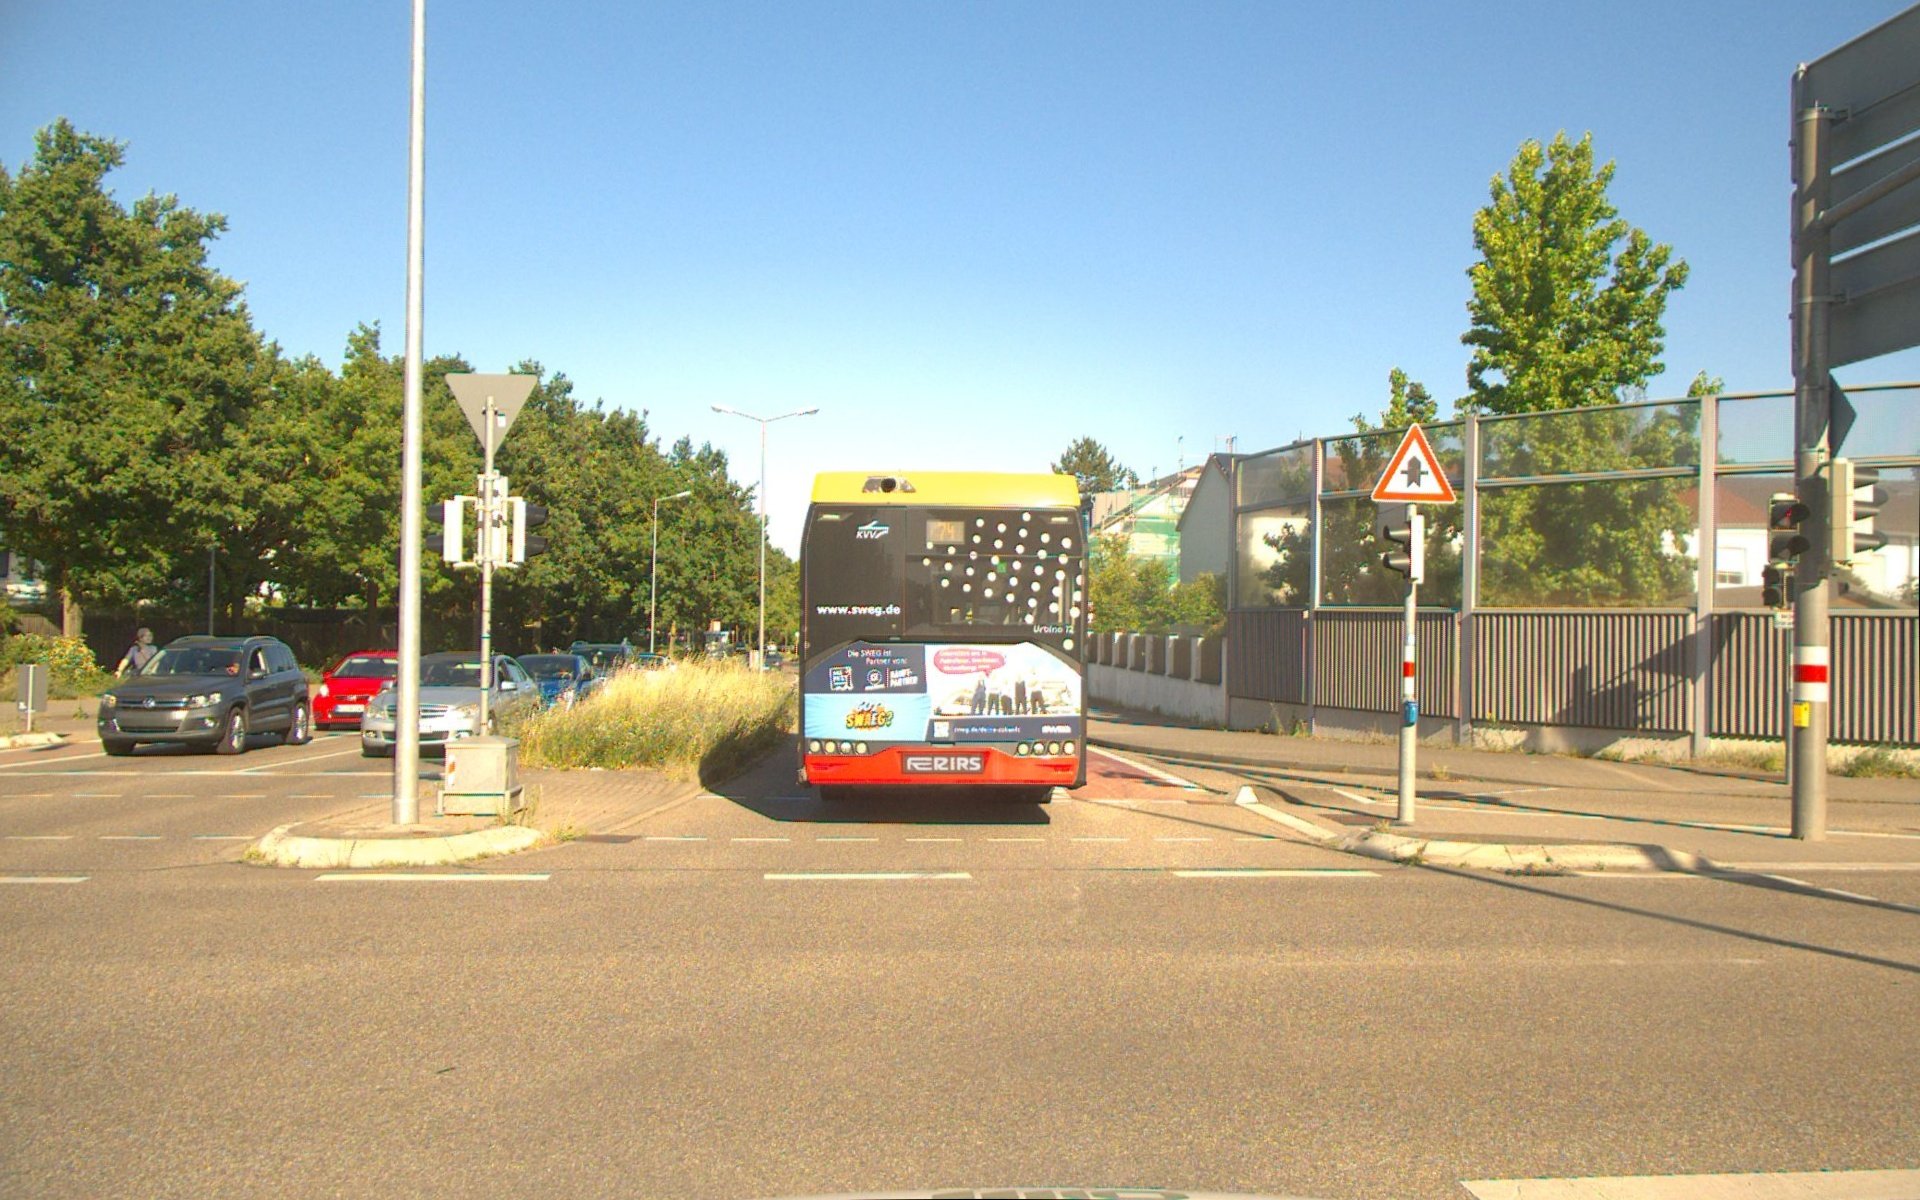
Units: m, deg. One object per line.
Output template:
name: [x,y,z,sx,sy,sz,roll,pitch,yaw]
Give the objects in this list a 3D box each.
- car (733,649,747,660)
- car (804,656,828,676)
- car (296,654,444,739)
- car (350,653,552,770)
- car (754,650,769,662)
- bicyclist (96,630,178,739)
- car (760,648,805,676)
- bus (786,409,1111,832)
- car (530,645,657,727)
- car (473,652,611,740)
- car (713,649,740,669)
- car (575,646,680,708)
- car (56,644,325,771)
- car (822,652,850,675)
car: [-32.808,8.139,246.617,1.898,1.480,3.990,1,-2,-10]
car: [-13.351,6.092,153.513,1.897,1.773,3.991,1,-2,-9]
car: [-11.276,1.809,31.862,1.612,1.509,3.711,0,-1,-2]
car: [-7.471,1.588,24.730,1.757,1.532,4.527,0,-1,-2]
car: [-26.604,7.465,221.481,1.897,1.569,3.991,1,-2,-9]
bicyclist: [-13.502,1.372,27.165,0.729,1.732,1.241,1,-2,-3]
car: [-9.735,3.391,90.874,1.673,1.456,4.002,-1,-2,6]
bus: [-0.269,0.417,20.019,2.702,3.519,12.391,0,-2,-2]
car: [-7.963,1.837,36.324,1.954,1.644,4.527,0,-1,-3]
car: [-7.709,1.739,30.832,1.712,1.509,3.885,0,-1,-2]
car: [-17.751,4.476,125.651,1.901,1.505,3.989,1,-2,-10]
car: [-8.377,1.943,42.056,1.954,1.476,4.396,0,-2,-3]
car: [-11.130,1.493,24.328,1.953,1.673,4.527,0,-1,-2]
car: [-9.885,5.053,131.853,1.900,1.734,3.991,1,-2,-9]
